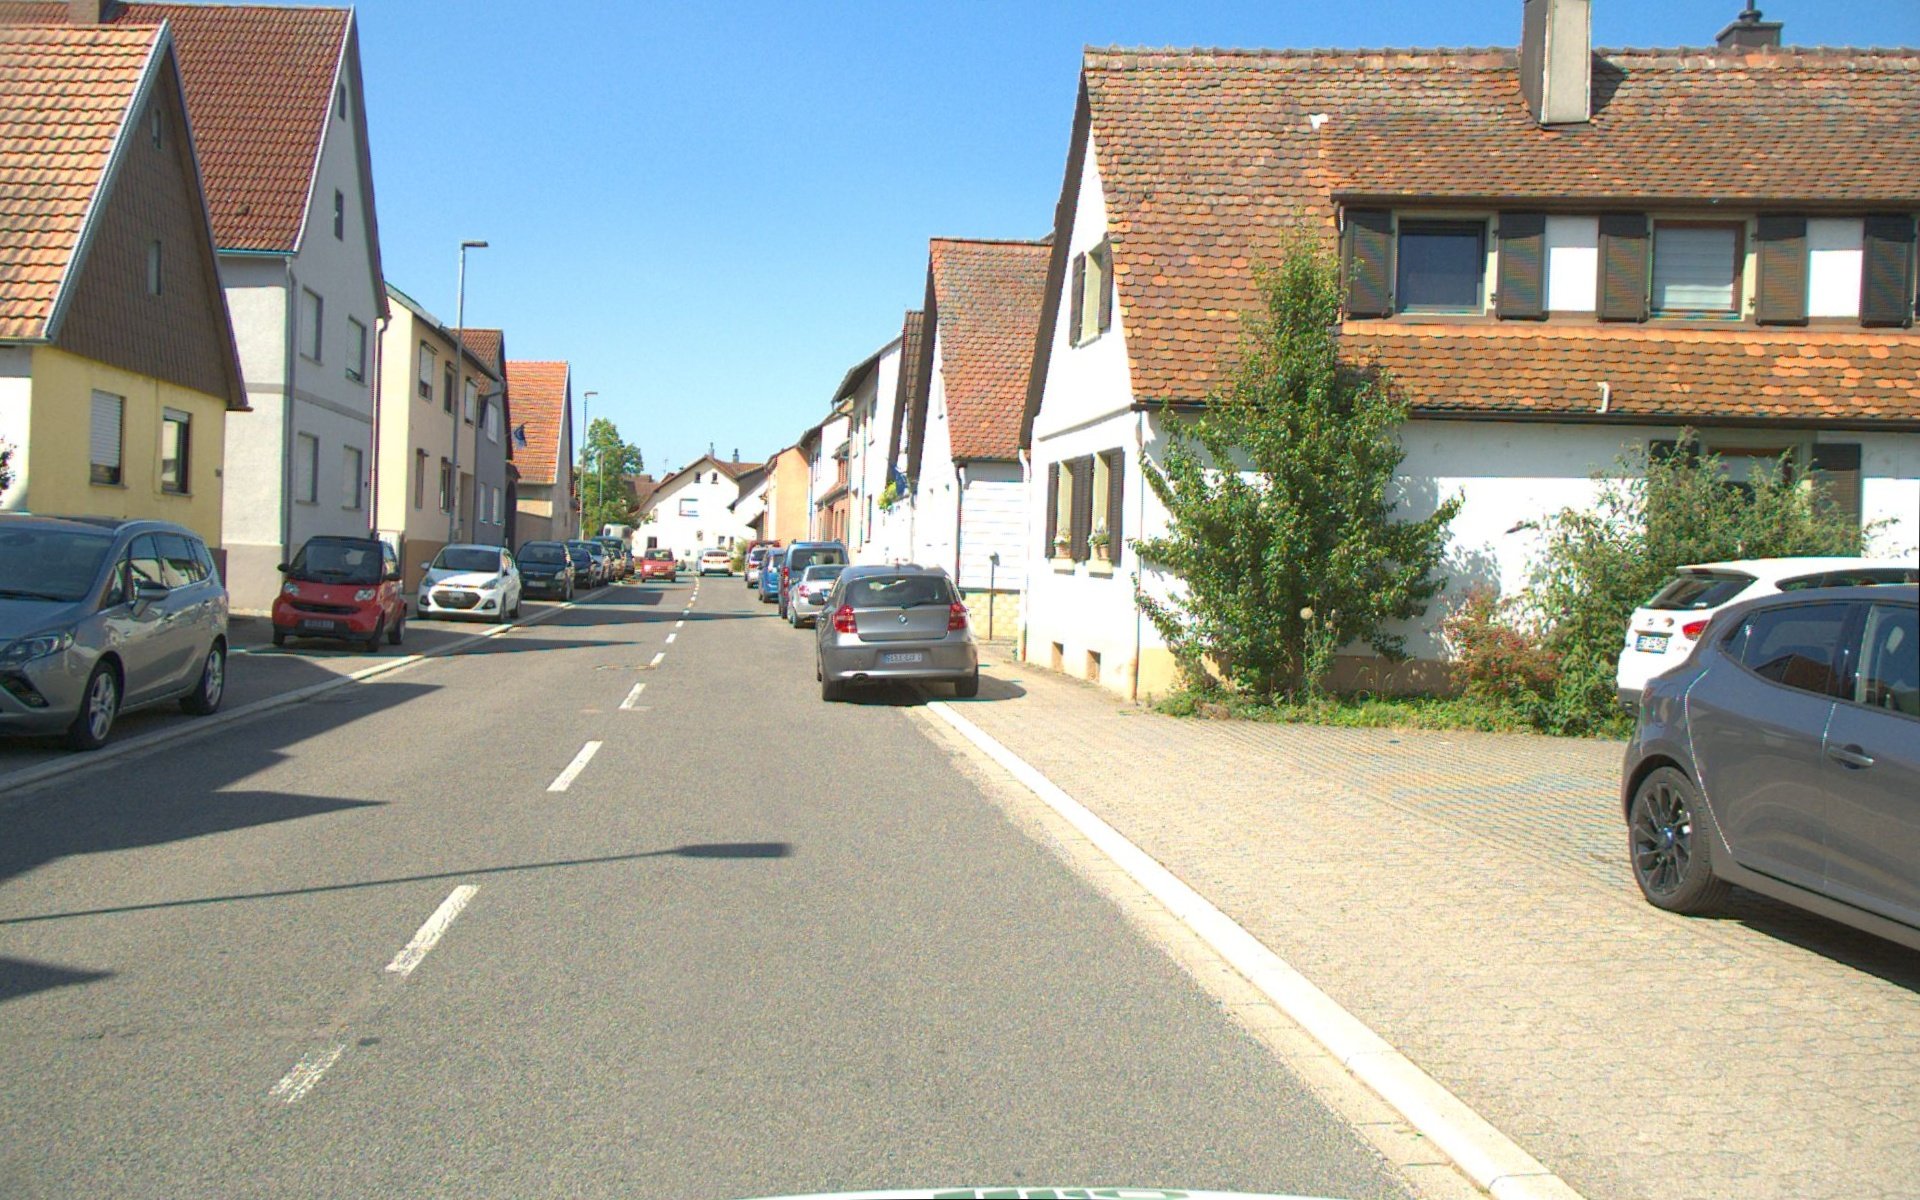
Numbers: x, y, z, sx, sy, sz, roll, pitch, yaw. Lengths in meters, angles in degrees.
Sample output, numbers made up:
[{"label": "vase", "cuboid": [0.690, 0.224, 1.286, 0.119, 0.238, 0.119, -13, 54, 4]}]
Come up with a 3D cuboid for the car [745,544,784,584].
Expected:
[{"label": "car", "cuboid": [-8.124, -1.502, 68.621, 1.394, 1.541, 3.297, 3, 1, -9]}]

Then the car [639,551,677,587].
[{"label": "car", "cuboid": [-13.803, -1.436, 75.755, 1.571, 1.515, 3.618, 3, 1, -9]}]

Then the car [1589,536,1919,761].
[{"label": "car", "cuboid": [7.587, 0.390, 13.623, 4.091, 1.686, 1.811, 1, 1, -2]}]

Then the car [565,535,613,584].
[{"label": "car", "cuboid": [-14.240, -1.553, 63.593, 1.499, 1.743, 3.618, 3, 1, -9]}]

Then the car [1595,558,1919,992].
[{"label": "car", "cuboid": [4.020, 0.612, 5.831, 1.657, 1.444, 4.142, 2, 1, -5]}]

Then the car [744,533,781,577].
[{"label": "car", "cuboid": [-9.737, -2.198, 81.577, 1.733, 2.039, 3.444, 1, 1, -8]}]

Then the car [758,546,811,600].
[{"label": "car", "cuboid": [-5.440, -0.841, 51.121, 1.394, 1.541, 3.297, 3, 1, -9]}]

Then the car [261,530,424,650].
[{"label": "car", "cuboid": [-8.928, -0.168, 24.115, 1.523, 1.571, 2.983, 3, 1, -7]}]

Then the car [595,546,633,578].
[{"label": "car", "cuboid": [-15.991, -1.765, 76.500, 1.499, 1.379, 3.618, 3, 1, -9]}]

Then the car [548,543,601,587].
[{"label": "car", "cuboid": [-13.711, -1.232, 58.933, 1.476, 1.478, 3.503, 1, 1, -8]}]

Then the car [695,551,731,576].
[{"label": "car", "cuboid": [-14.110, -2.069, 94.511, 1.956, 1.310, 3.993, 1, 1, -9]}]

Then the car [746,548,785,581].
[{"label": "car", "cuboid": [-9.012, -1.647, 76.426, 1.733, 1.458, 3.444, 1, 1, -8]}]

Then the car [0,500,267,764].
[{"label": "car", "cuboid": [-6.997, 0.120, 12.709, 1.837, 1.665, 4.657, 3, 1, -7]}]

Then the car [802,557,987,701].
[{"label": "car", "cuboid": [-0.844, 0.245, 18.819, 1.673, 1.458, 3.882, 0, 1, -9]}]

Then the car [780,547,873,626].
[{"label": "car", "cuboid": [-2.906, -0.308, 35.377, 1.673, 1.522, 3.445, 3, 1, -9]}]

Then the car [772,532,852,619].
[{"label": "car", "cuboid": [-3.649, -0.614, 40.356, 1.619, 1.943, 3.618, 3, 1, -9]}]

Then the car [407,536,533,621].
[{"label": "car", "cuboid": [-10.098, -0.459, 34.375, 1.772, 1.574, 4.397, 3, 1, -7]}]

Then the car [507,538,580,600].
[{"label": "car", "cuboid": [-11.824, -0.897, 47.156, 1.589, 1.605, 3.954, 3, 1, -9]}]
